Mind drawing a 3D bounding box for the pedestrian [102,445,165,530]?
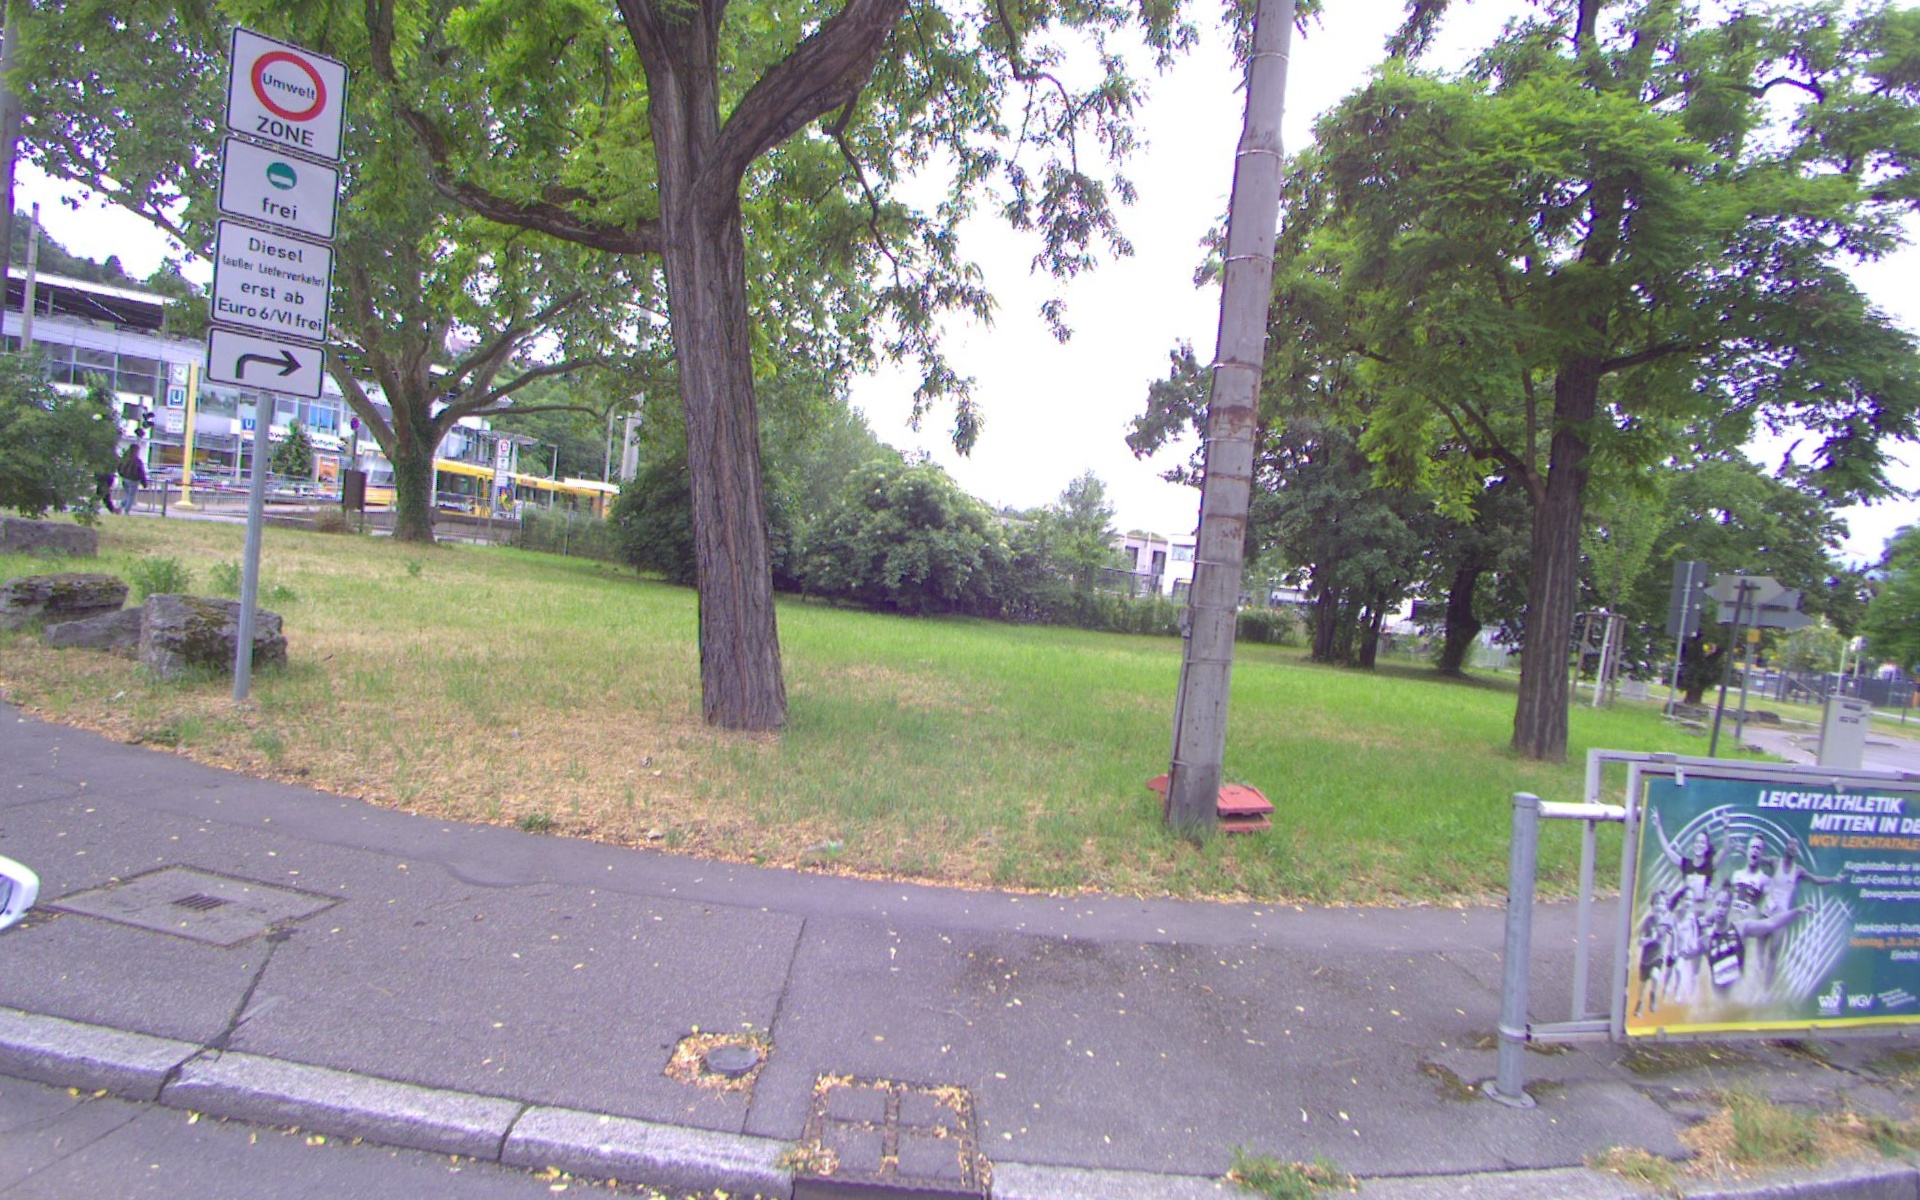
[{"bbox_3d":[-18.307,-2.480,22.291,0.593,1.709,0.672,7,-1,11],"label":"pedestrian"}]

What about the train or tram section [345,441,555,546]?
[{"bbox_3d":[-25.479,-5.127,51.401,2.697,4.019,11.904,7,2,10],"label":"train or tram section"}]

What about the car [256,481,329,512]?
[{"bbox_3d":[-44.872,-6.957,67.633,3.924,1.575,1.926,7,3,14],"label":"car"}]

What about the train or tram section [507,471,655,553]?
[{"bbox_3d":[-23.394,-5.305,63.142,2.697,4.019,11.904,7,2,10],"label":"train or tram section"}]

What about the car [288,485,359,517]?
[{"bbox_3d":[-44.449,-6.925,70.277,3.924,1.572,1.930,7,-2,14],"label":"car"}]

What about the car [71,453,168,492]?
[{"bbox_3d":[-47.302,-7.153,56.661,3.924,1.575,1.926,7,3,6],"label":"car"}]

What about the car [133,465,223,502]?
[{"bbox_3d":[-46.737,-6.954,60.129,3.924,1.575,1.926,7,3,6],"label":"car"}]

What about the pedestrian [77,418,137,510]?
[{"bbox_3d":[-18.953,-3.005,22.358,0.593,1.891,0.671,7,2,11],"label":"pedestrian"}]
